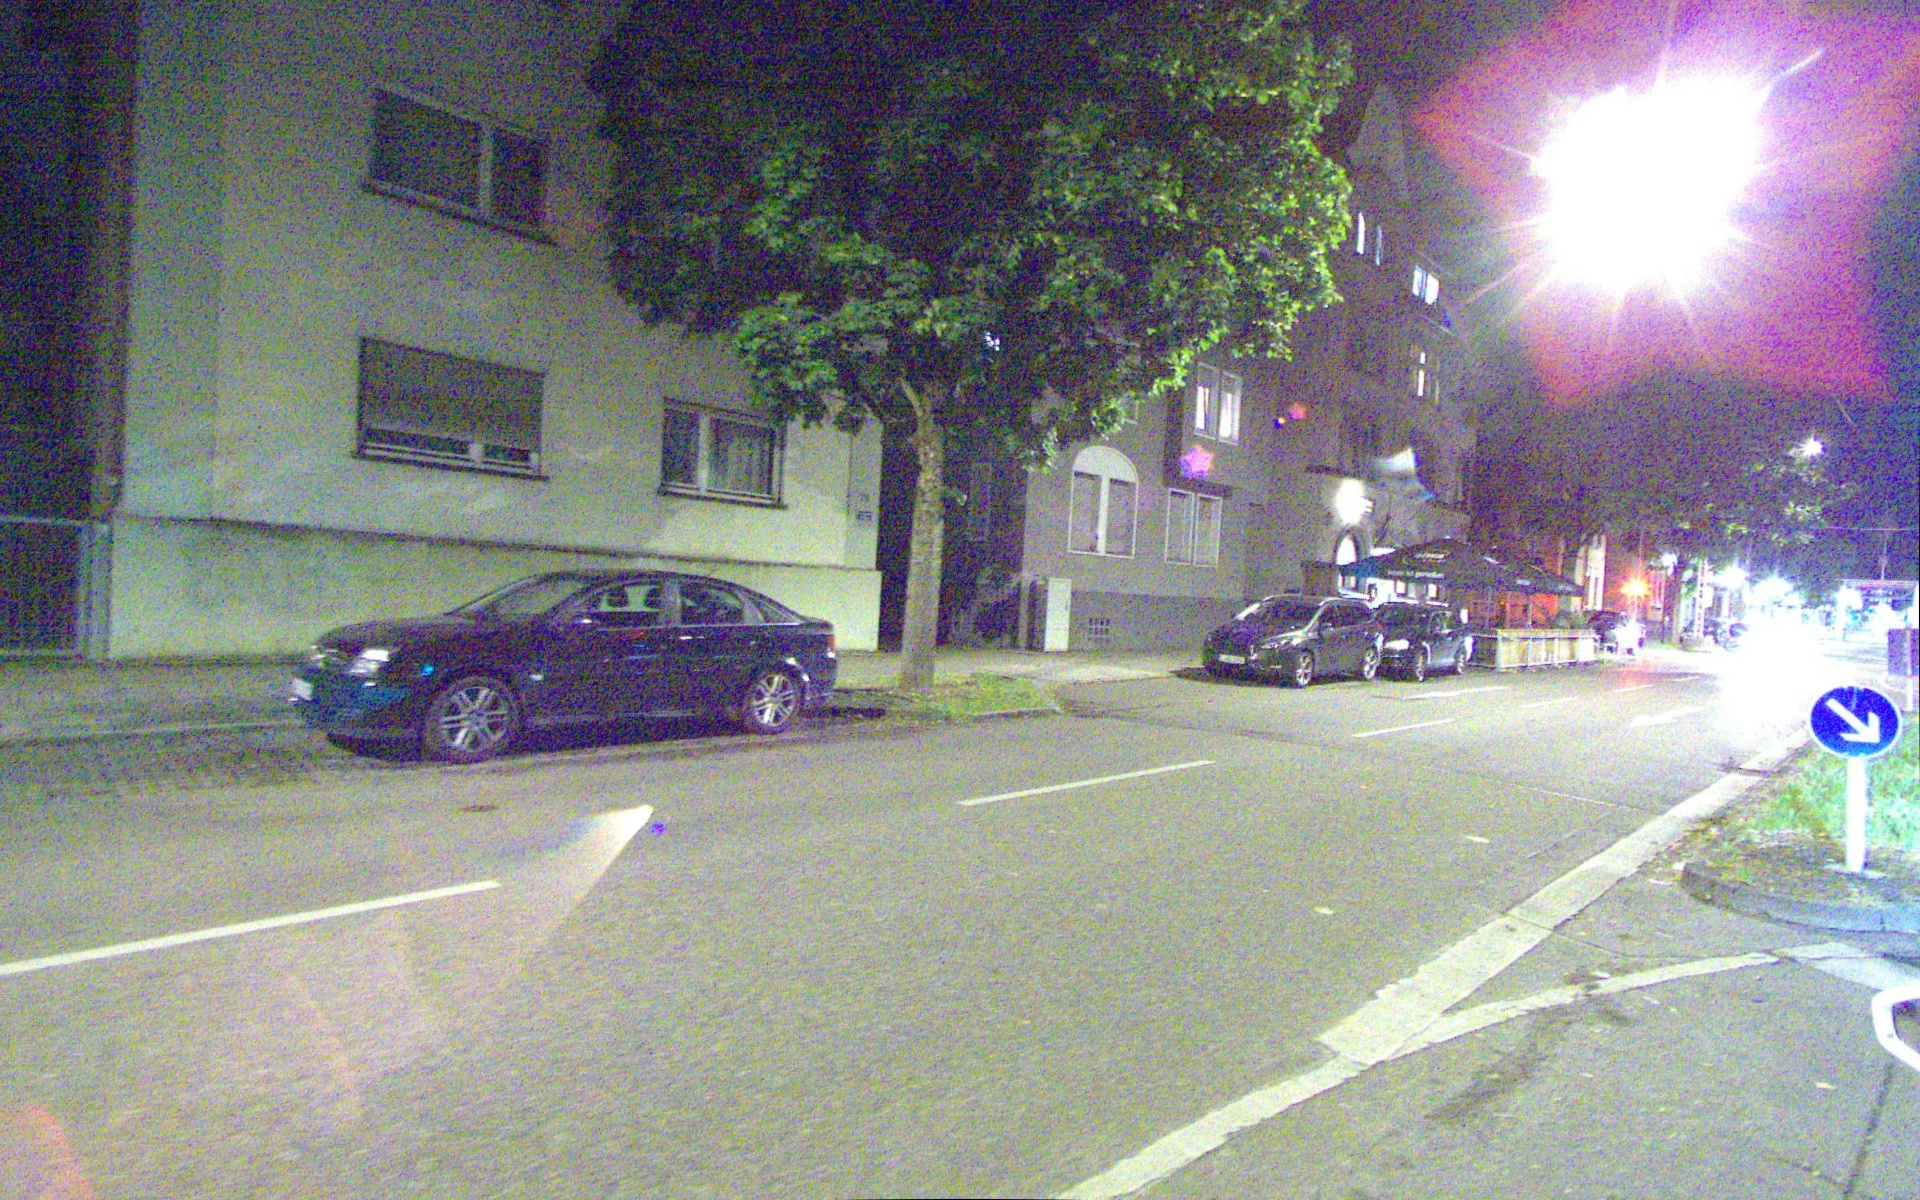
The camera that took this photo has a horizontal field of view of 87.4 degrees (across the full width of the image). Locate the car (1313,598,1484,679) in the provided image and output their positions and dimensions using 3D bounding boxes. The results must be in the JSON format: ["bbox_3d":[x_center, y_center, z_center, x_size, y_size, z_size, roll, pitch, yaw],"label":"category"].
[{"bbox_3d":[9.529,0.797,21.653,1.841,1.452,4.415,6,3,45],"label":"car"}]

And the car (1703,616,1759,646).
[{"bbox_3d":[44.372,1.780,57.778,4.299,1.511,1.767,2,4,-43],"label":"car"}]

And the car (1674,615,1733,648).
[{"bbox_3d":[38.509,1.620,51.995,3.670,1.511,1.578,2,4,-41],"label":"car"}]

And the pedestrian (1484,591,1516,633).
[{"bbox_3d":[22.468,0.497,41.785,1.113,1.713,0.705,2,1,-35],"label":"pedestrian"}]

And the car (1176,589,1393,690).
[{"bbox_3d":[5.946,0.676,18.116,1.841,1.499,4.444,5,2,45],"label":"car"}]

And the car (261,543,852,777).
[{"bbox_3d":[-3.231,0.401,8.738,1.840,1.452,4.379,6,3,42],"label":"car"}]

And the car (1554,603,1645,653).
[{"bbox_3d":[23.767,1.035,37.271,3.996,1.617,1.867,2,3,-44],"label":"car"}]

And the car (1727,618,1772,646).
[{"bbox_3d":[48.770,1.943,62.025,1.765,1.511,3.977,8,4,43],"label":"car"}]

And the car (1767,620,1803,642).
[{"bbox_3d":[63.322,2.364,77.078,1.765,1.434,4.102,6,3,43],"label":"car"}]

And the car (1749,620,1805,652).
[{"bbox_3d":[40.514,1.749,49.788,3.974,1.448,1.698,2,0,-45],"label":"car"}]
